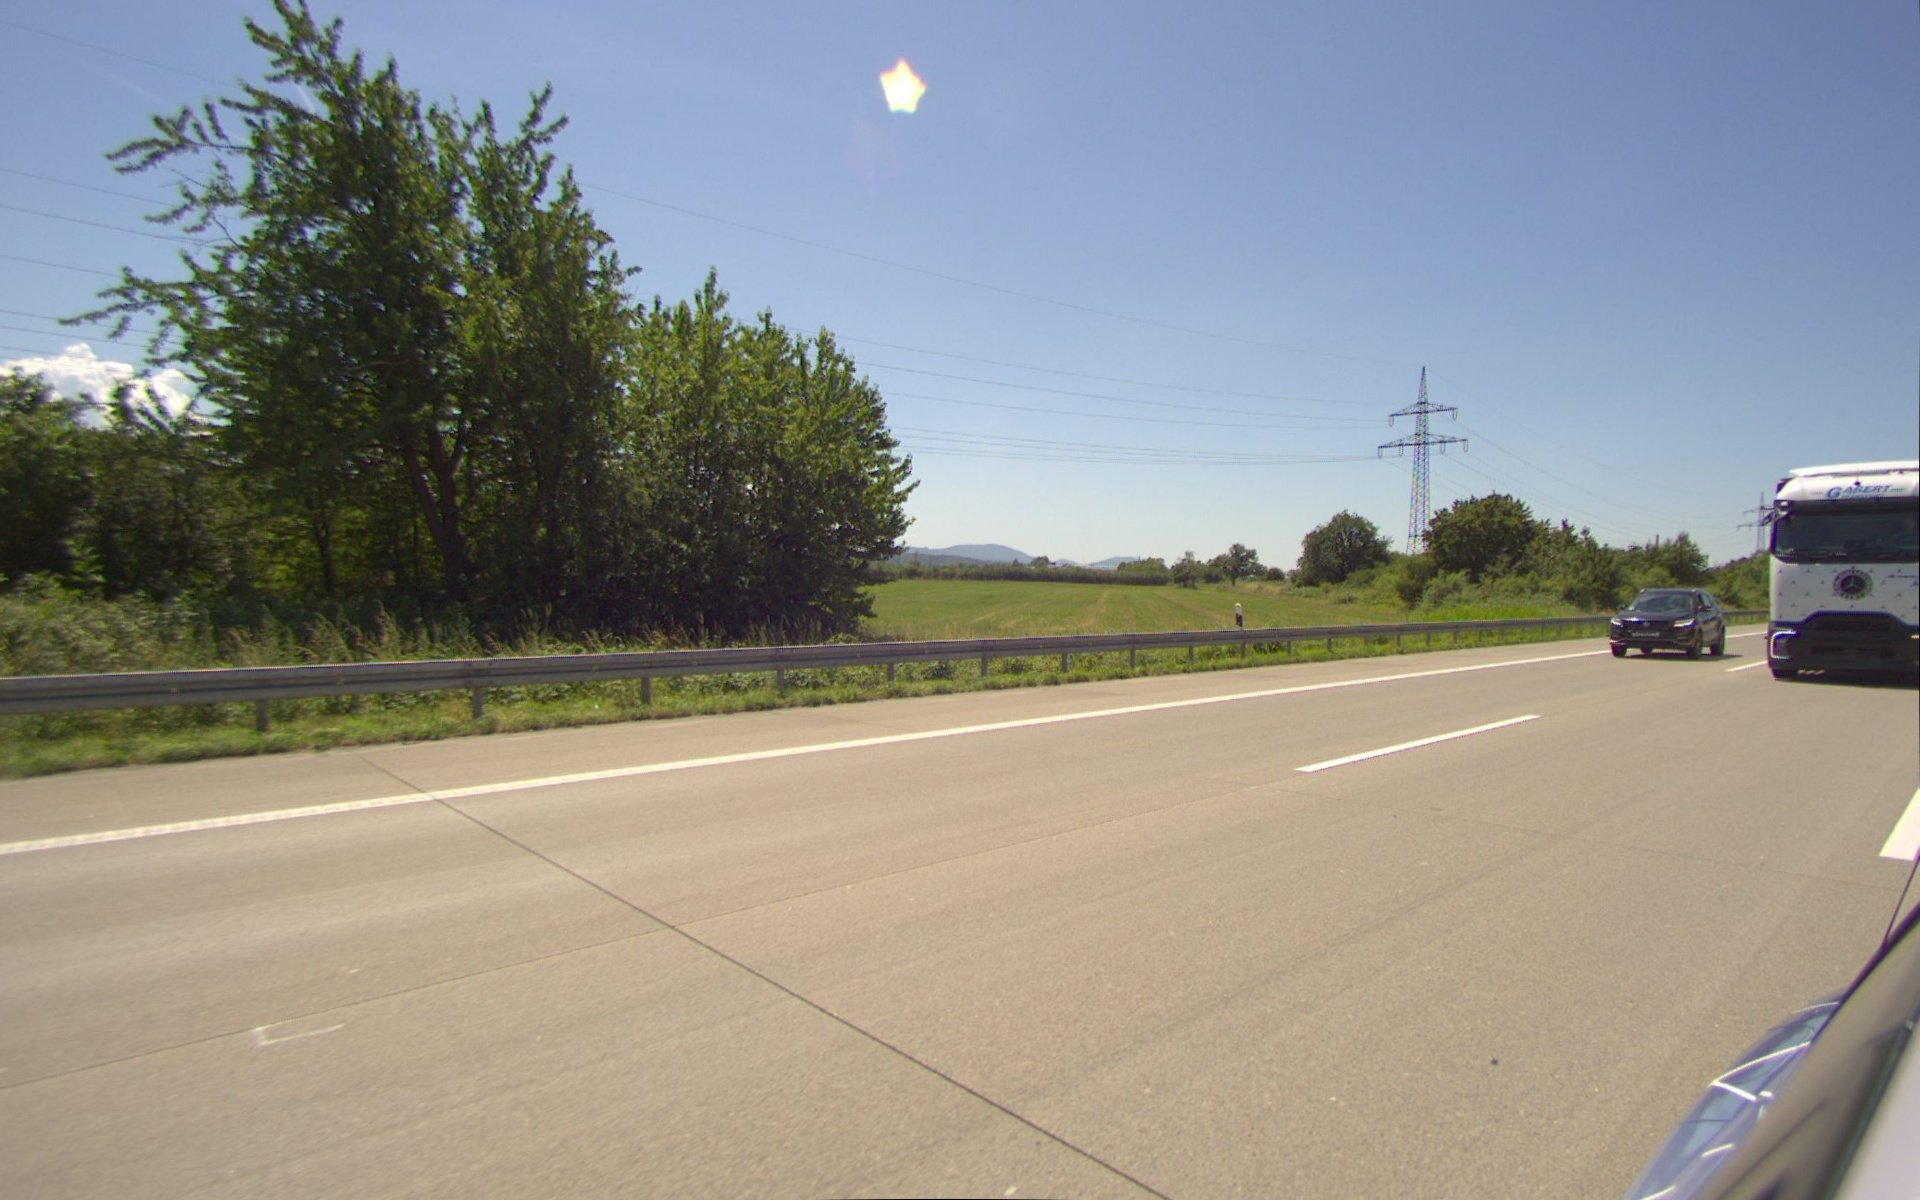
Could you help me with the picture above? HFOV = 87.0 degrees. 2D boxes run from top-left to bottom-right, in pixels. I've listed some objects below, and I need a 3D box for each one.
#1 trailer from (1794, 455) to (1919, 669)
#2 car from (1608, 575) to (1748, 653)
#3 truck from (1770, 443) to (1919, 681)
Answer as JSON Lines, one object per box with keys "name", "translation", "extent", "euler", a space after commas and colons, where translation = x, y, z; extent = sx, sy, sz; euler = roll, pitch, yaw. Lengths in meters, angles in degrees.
{"name": "trailer", "translation": [20.948, -0.723, 22.447], "extent": [10.200, 3.927, 2.583], "euler": [0, 0, -44]}
{"name": "car", "translation": [18.079, 0.312, 25.425], "extent": [3.930, 1.805, 1.997], "euler": [0, 0, -41]}
{"name": "truck", "translation": [17.189, -0.642, 18.893], "extent": [4.901, 3.927, 2.583], "euler": [0, 0, -44]}
